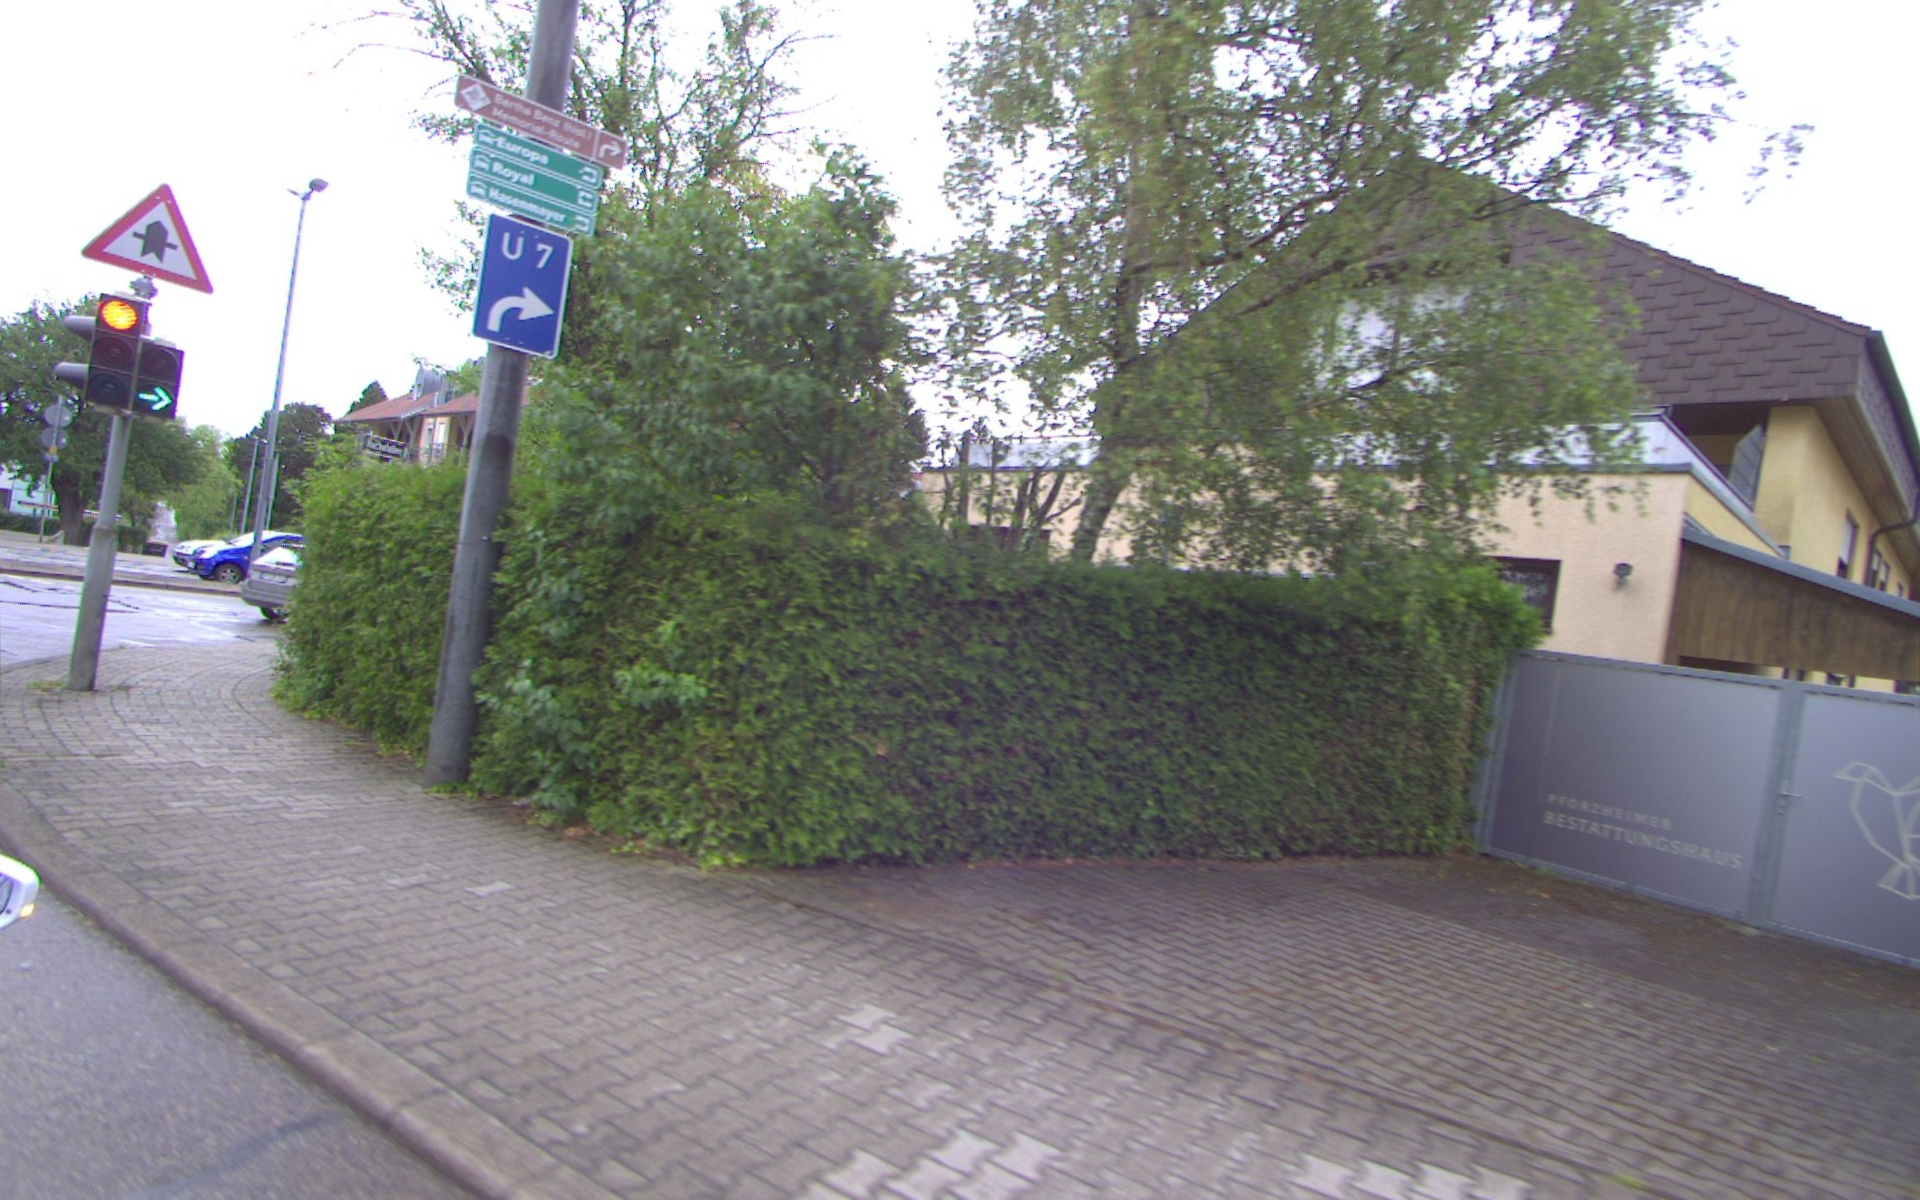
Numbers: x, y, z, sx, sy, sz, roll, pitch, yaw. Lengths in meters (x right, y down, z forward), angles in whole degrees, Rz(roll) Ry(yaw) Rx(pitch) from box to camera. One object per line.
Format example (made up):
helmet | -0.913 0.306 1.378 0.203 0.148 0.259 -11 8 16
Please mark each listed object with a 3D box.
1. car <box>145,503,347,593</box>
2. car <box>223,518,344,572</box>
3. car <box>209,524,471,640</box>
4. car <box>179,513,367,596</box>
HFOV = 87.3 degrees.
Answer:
car | -19.623 -1.370 27.873 1.963 1.688 4.005 9 -2 19
car | -44.529 -3.610 66.288 2.815 2.224 5.997 8 -4 45
car | -11.431 -0.236 18.919 1.738 1.526 4.006 11 -1 11
car | -16.805 -1.085 24.711 1.503 1.473 3.428 7 -2 39
